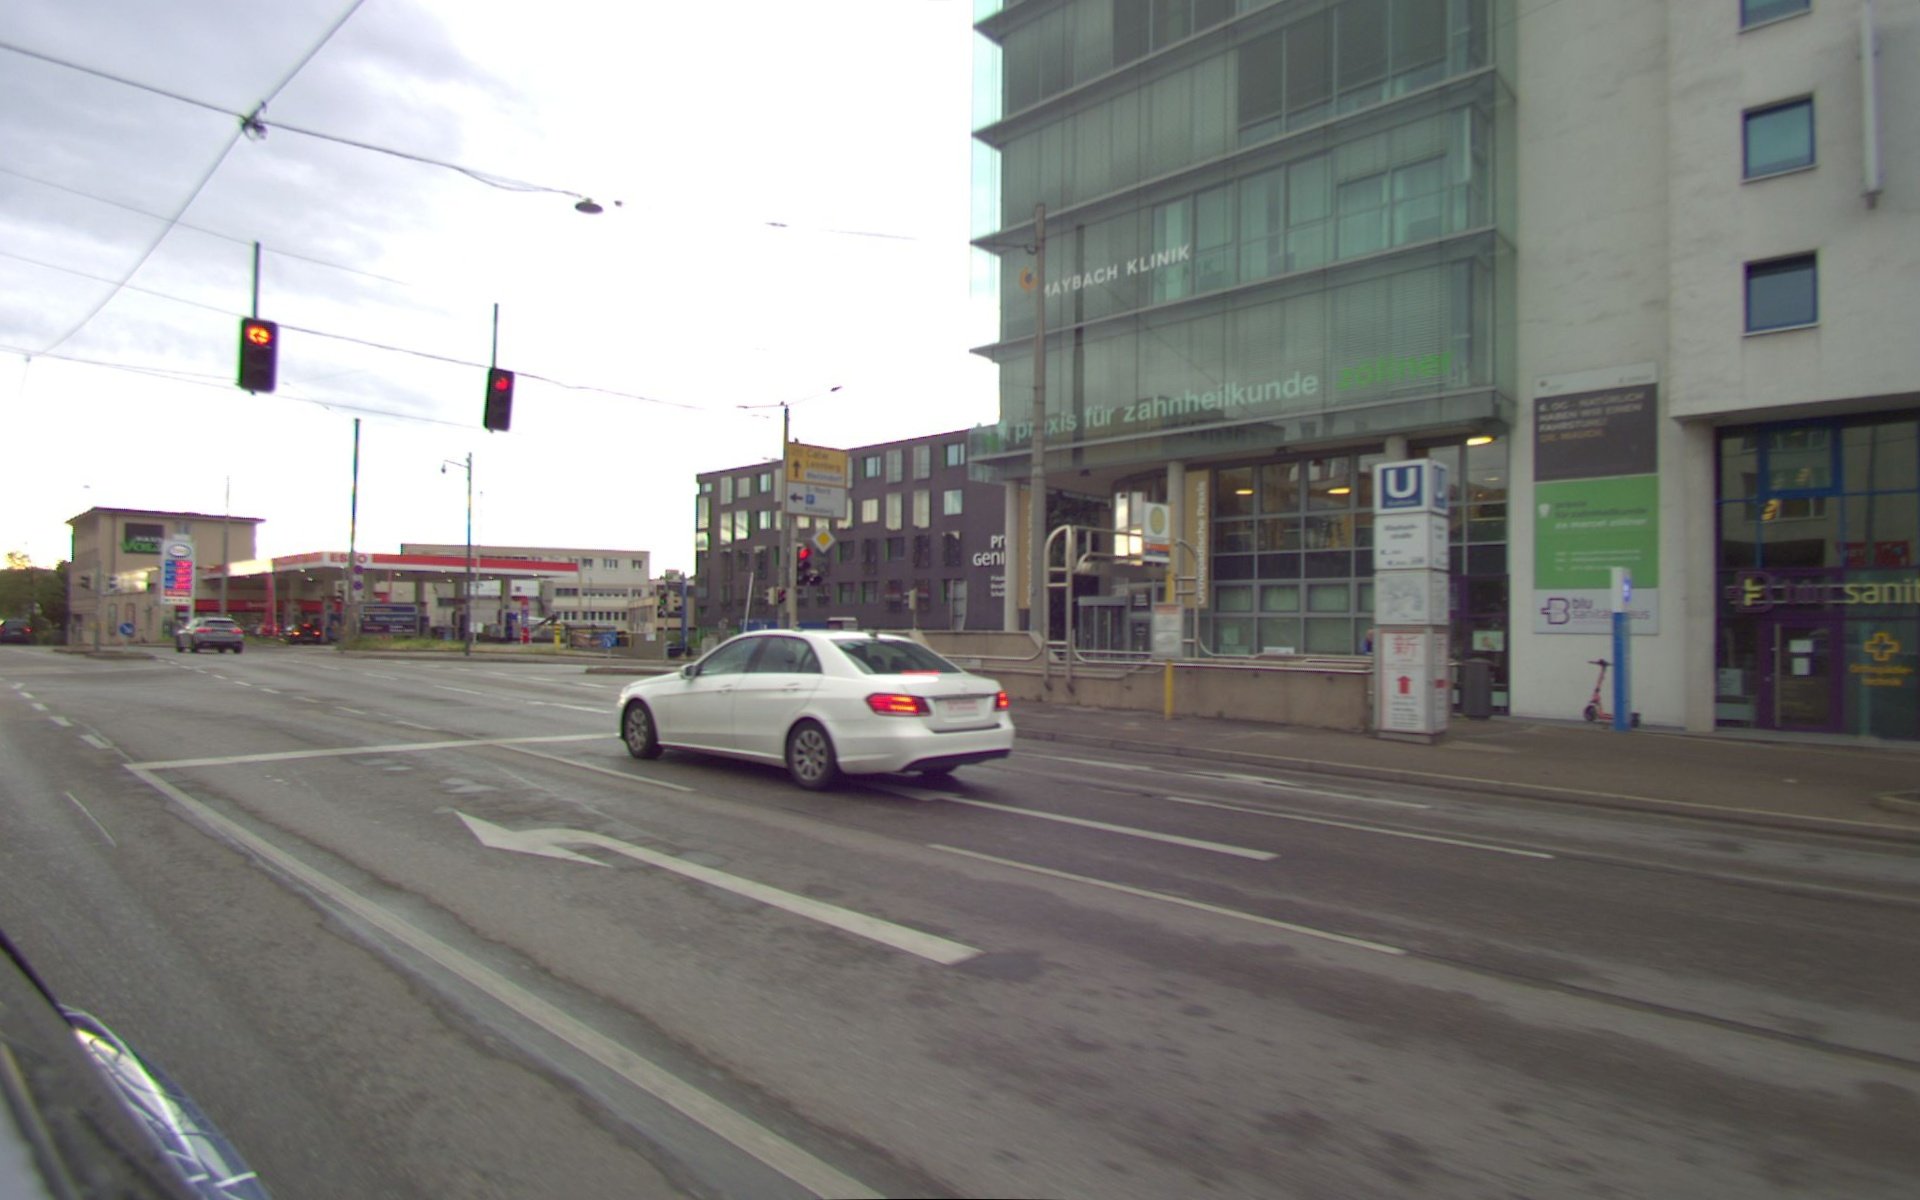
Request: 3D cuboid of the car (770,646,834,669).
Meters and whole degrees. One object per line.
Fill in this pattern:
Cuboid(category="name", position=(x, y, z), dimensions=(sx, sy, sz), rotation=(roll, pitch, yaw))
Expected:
Cuboid(category="car", position=(-10.859, 3.976, 69.594), dimensions=(3.940, 1.298, 1.804), rotation=(6, -3, -43))

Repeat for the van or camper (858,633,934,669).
Cuboid(category="van or camper", position=(-4.926, 3.884, 77.357), dimensions=(5.347, 2.386, 2.701), rotation=(2, -3, 42))

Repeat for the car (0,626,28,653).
Cuboid(category="car", position=(-66.134, 2.698, 70.188), dimensions=(4.131, 1.782, 1.832), rotation=(0, -4, 43))

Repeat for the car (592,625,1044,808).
Cuboid(category="car", position=(-1.662, 0.992, 10.344), dimensions=(4.962, 1.397, 1.798), rotation=(-1, -2, 42))

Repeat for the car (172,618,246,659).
Cuboid(category="car", position=(-34.667, 1.778, 46.698), dimensions=(4.210, 1.644, 1.887), rotation=(2, -3, 42))
